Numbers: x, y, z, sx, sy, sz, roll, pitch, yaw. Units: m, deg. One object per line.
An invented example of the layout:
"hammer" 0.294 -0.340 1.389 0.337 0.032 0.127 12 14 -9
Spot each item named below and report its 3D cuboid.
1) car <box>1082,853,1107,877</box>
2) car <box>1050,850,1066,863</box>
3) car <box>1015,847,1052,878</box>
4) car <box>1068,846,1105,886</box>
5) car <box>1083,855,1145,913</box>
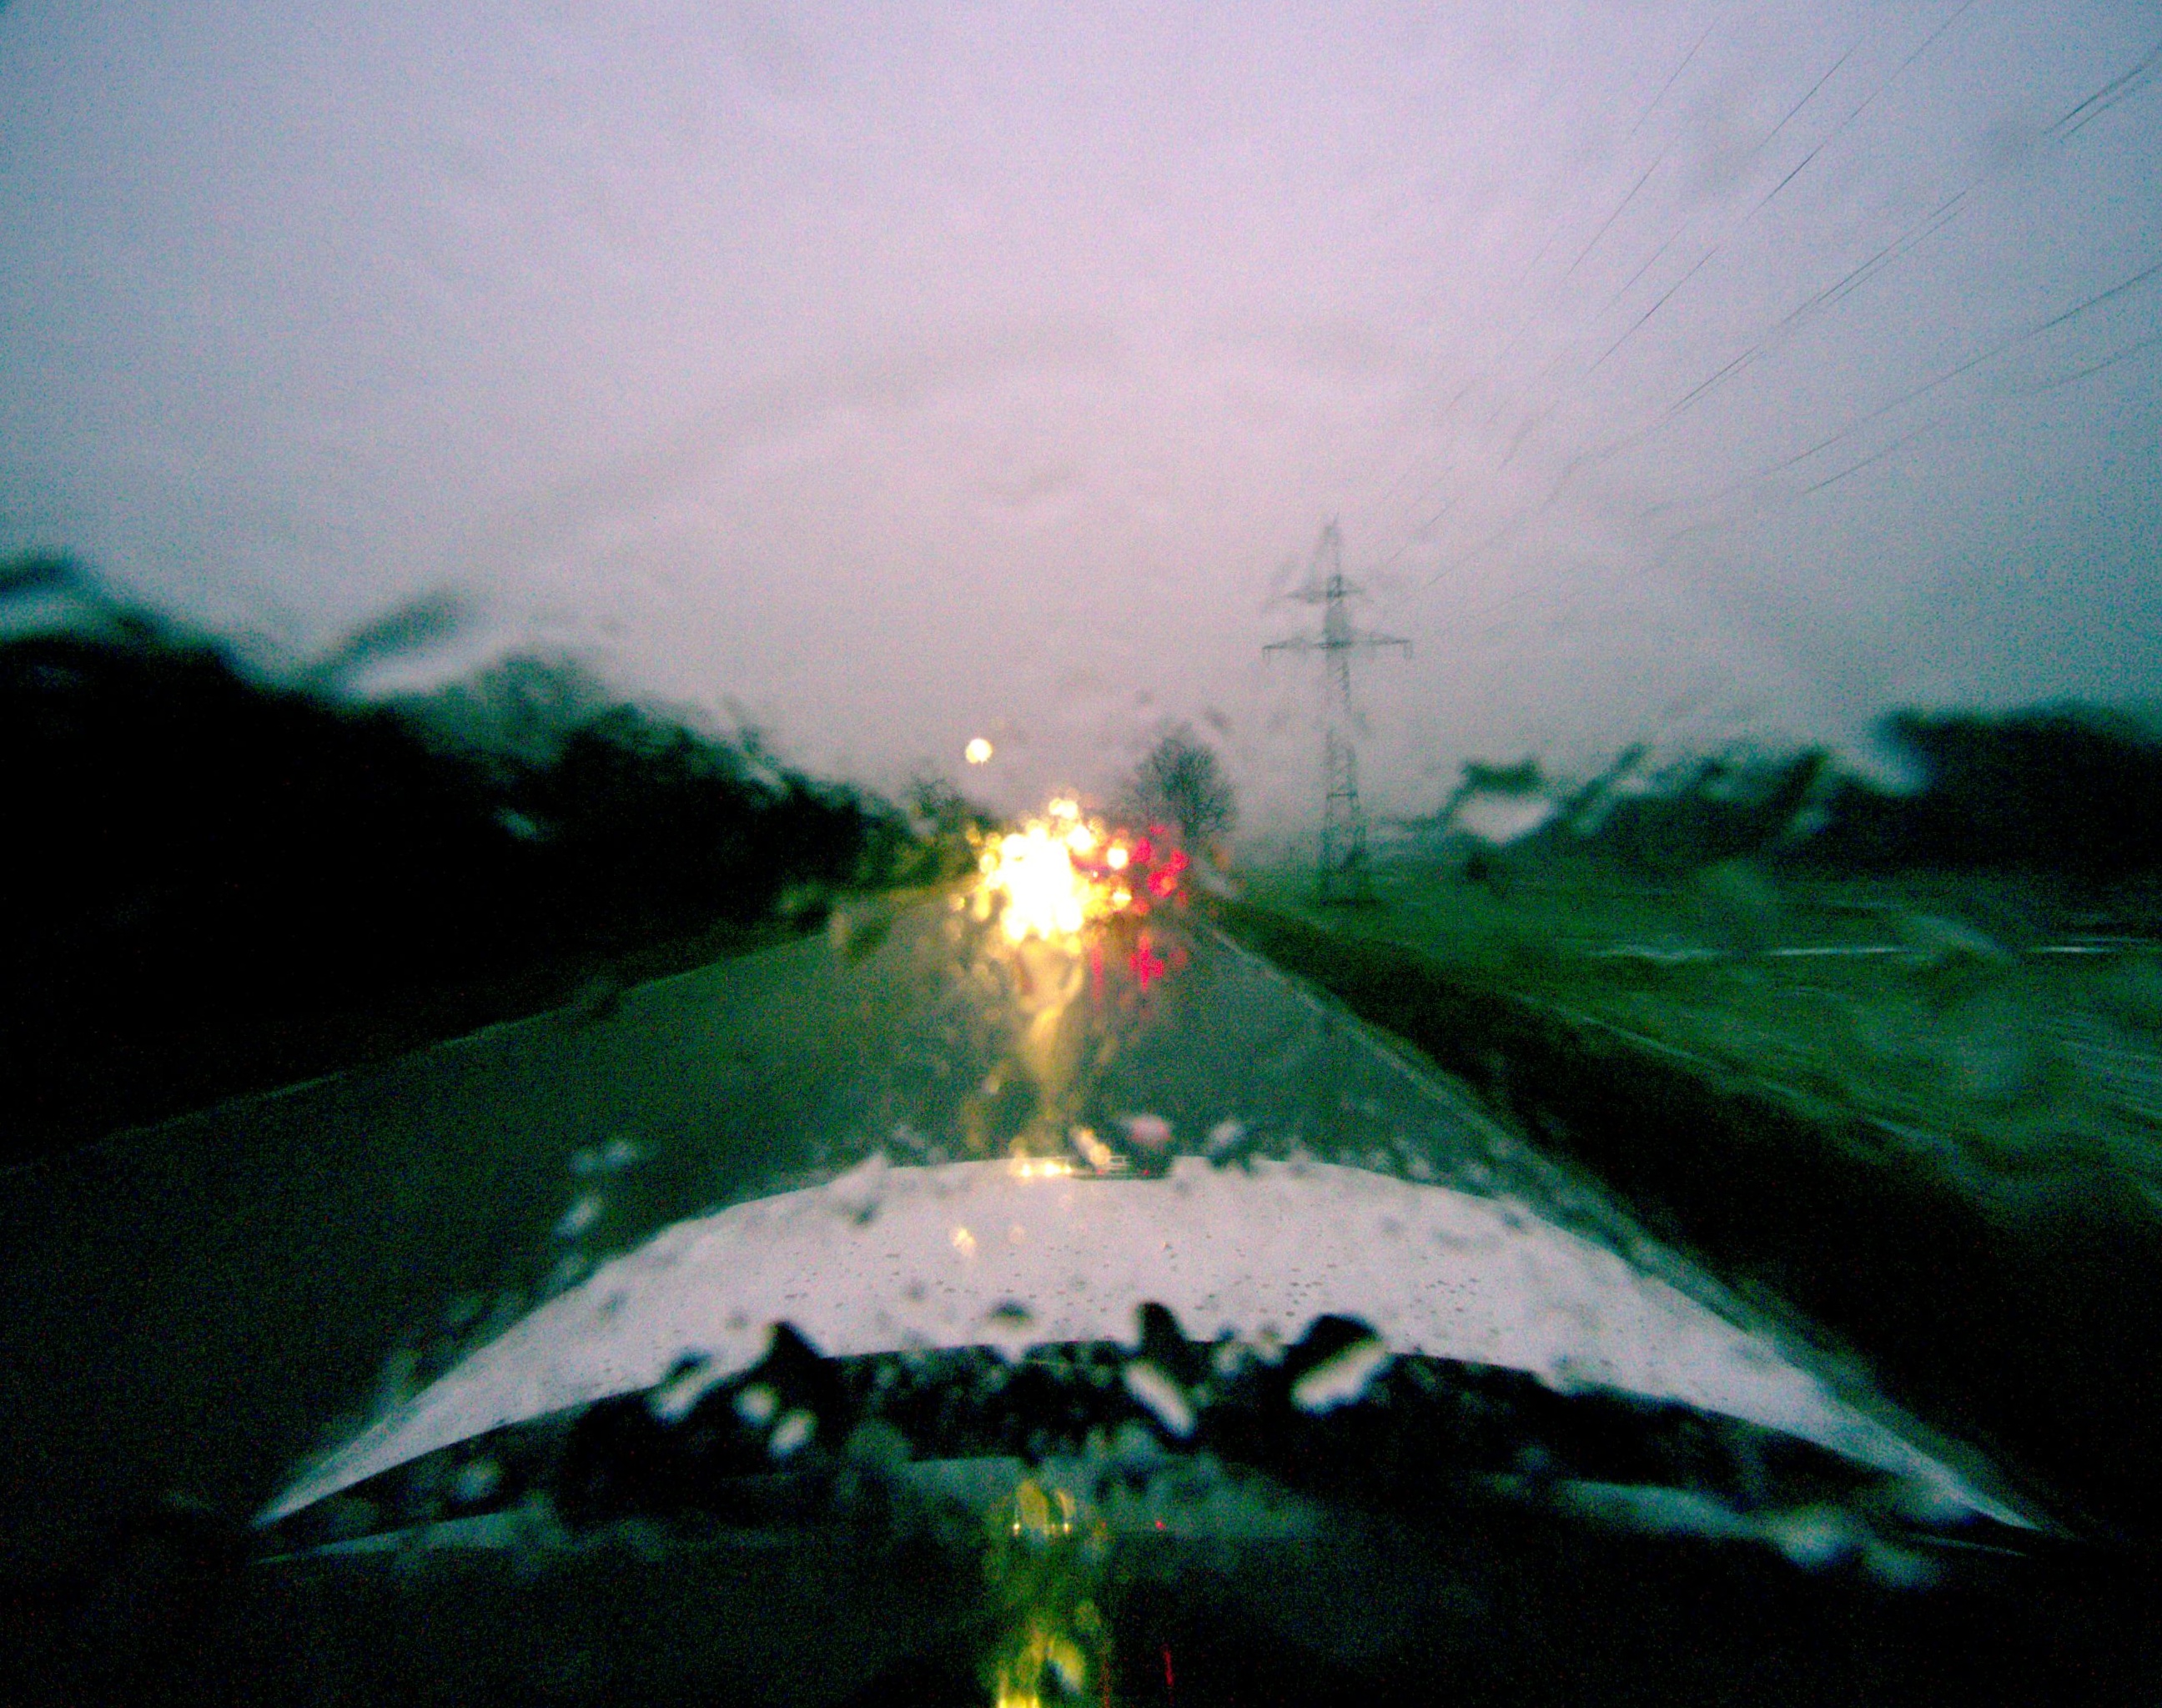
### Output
"car" 1.018 0.814 62.510 1.857 1.700 4.468 -1 0 0
"car" -2.940 0.284 106.218 1.857 1.700 4.468 -1 0 0
"car" -2.831 0.460 49.552 1.779 1.750 4.260 -2 0 2
"car" 0.355 0.630 44.172 1.845 2.013 4.003 -1 0 2
"car" 0.883 0.739 21.460 1.494 1.398 3.201 -1 0 2
